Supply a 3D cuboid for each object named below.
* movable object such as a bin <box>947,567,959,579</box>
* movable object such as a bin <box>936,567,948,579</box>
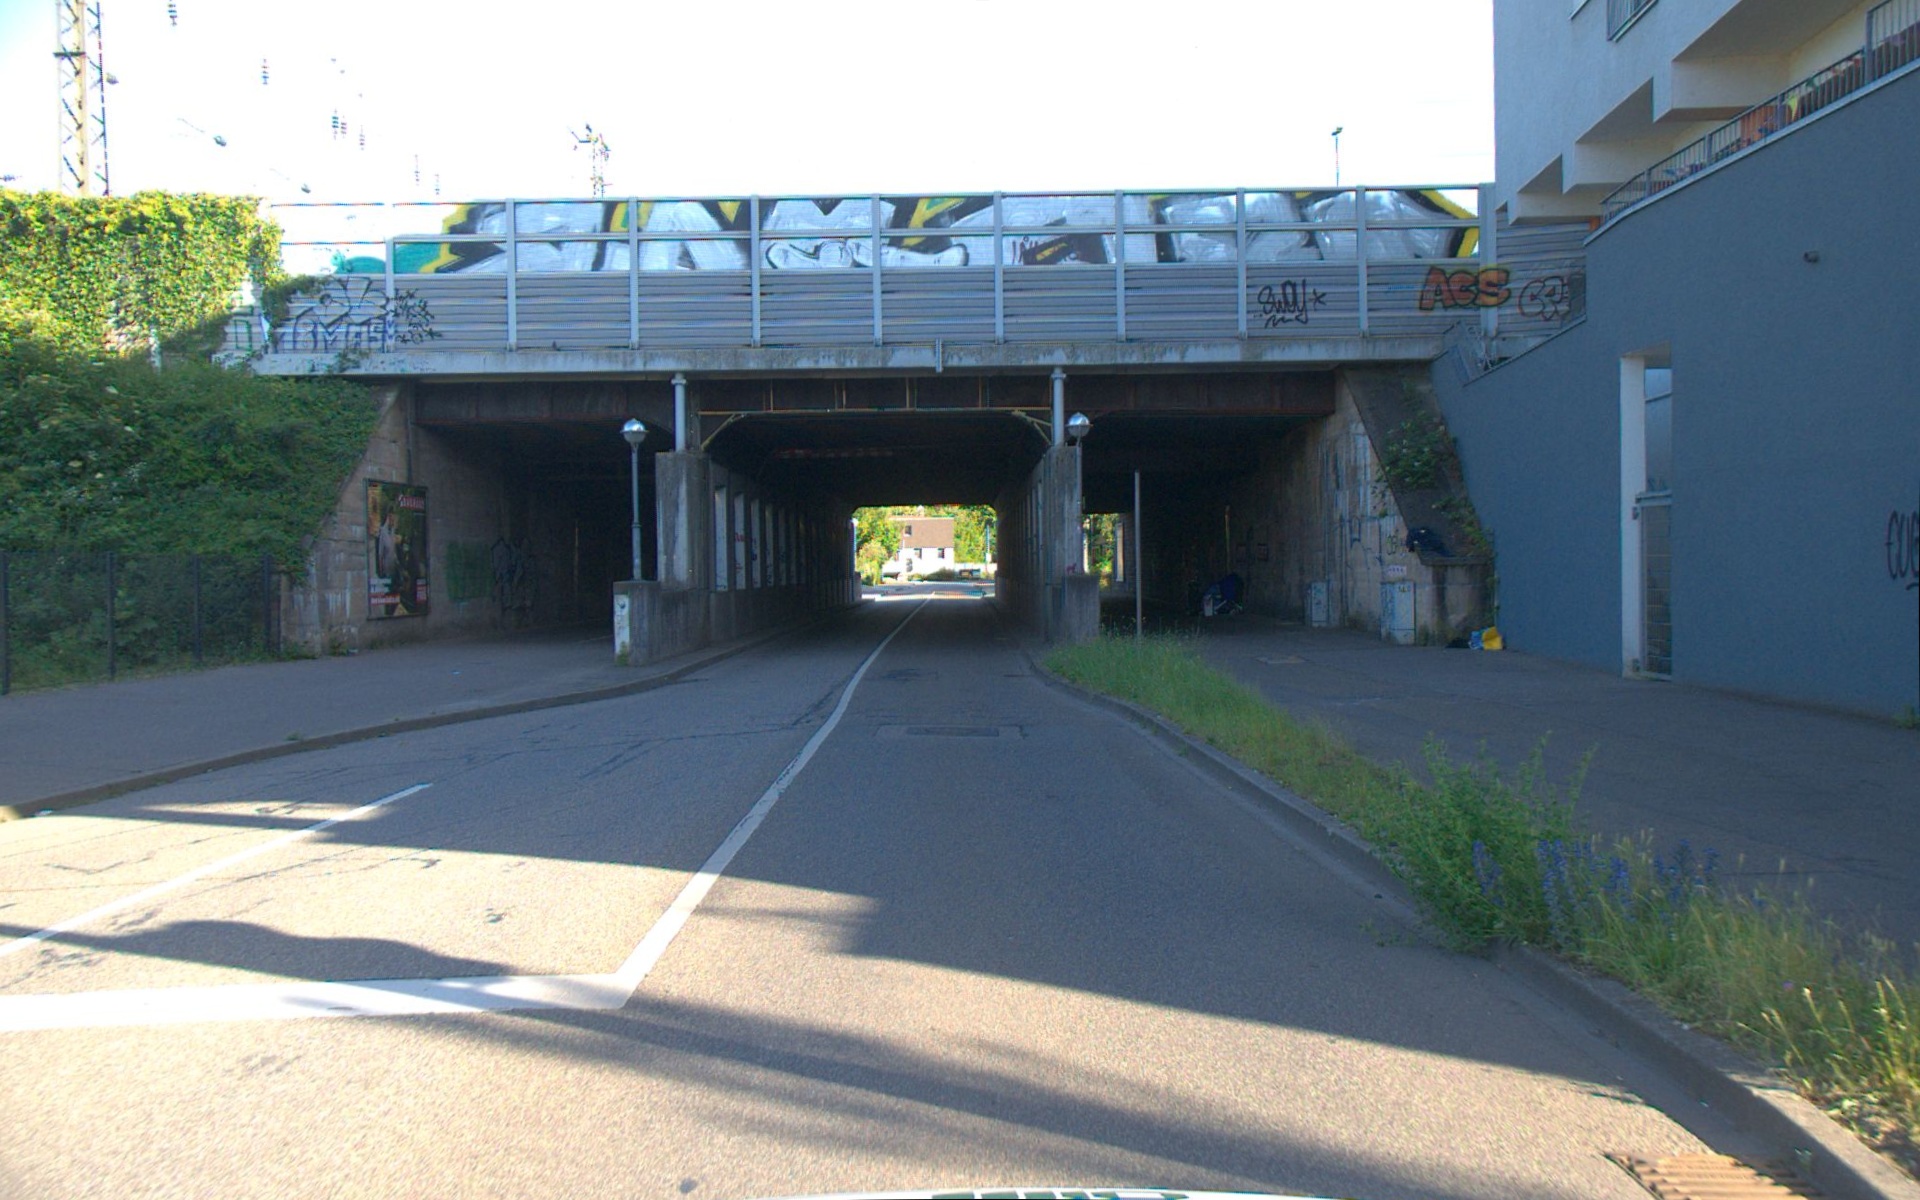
[{"bbox_3d":[-0.875,-3.346,205.930,1.339,1.443,1.064,1,0,-7],"label":"movable object such as a bin"},{"bbox_3d":[-2.271,-3.371,205.700,1.339,1.443,1.064,1,0,-7],"label":"movable object such as a bin"}]
